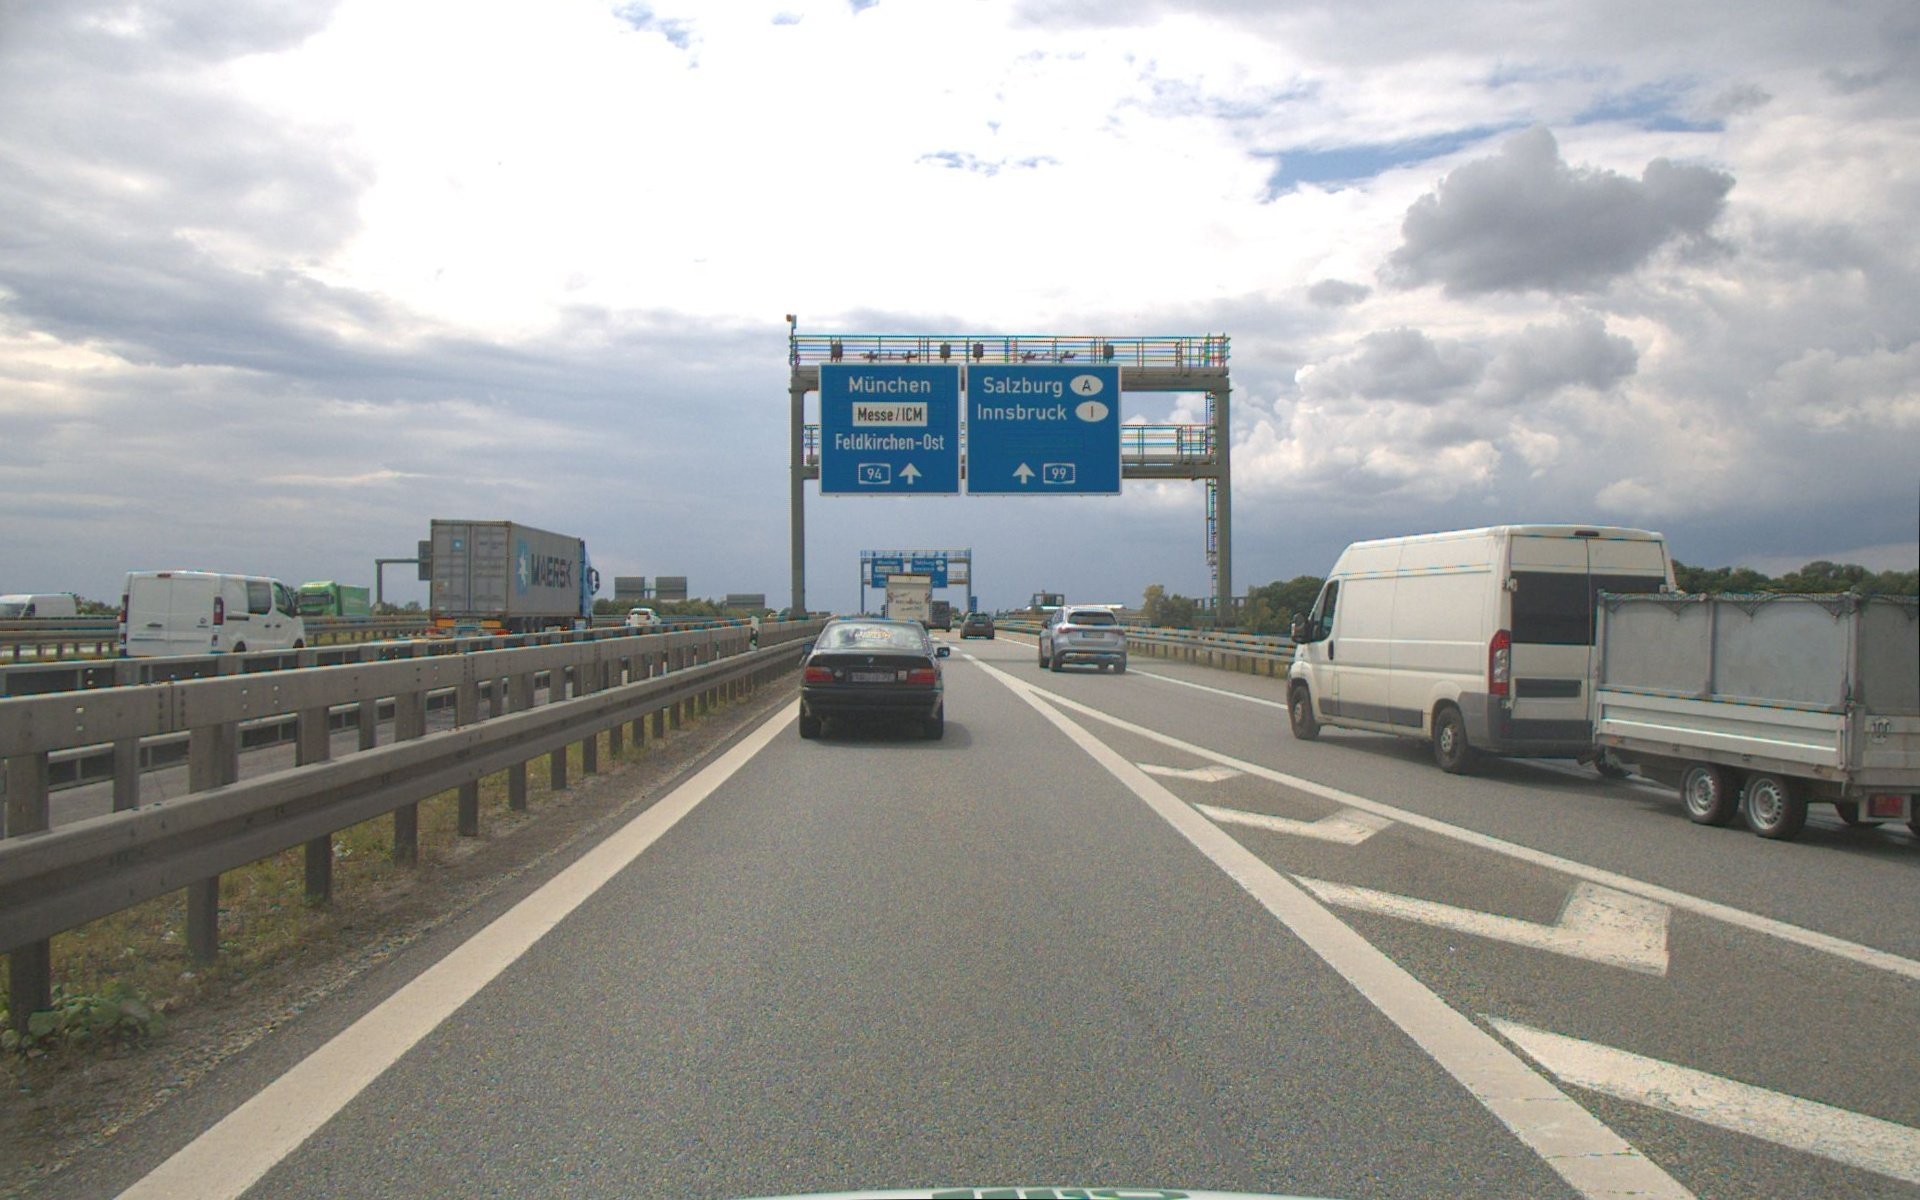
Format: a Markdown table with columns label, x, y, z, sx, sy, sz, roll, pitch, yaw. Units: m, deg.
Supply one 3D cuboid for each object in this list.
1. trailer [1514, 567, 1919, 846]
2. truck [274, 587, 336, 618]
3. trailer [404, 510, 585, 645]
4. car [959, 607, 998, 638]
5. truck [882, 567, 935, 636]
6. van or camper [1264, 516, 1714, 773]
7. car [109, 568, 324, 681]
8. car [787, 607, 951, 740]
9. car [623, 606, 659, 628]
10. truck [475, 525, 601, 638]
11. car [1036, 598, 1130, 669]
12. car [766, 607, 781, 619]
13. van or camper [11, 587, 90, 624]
| label | x | y | z | sx | sy | sz | roll | pitch | yaw |
| --- | --- | --- | --- | --- | --- | --- | --- | --- | --- |
| trailer | 6.624 | 0.742 | 13.515 | 1.958 | 1.874 | 4.494 | 2 | 0 | -12 |
| truck | -50.637 | 0.227 | 128.004 | 2.310 | 2.275 | 6.423 | 1 | 0 | -1 |
| trailer | -15.497 | -0.653 | 56.288 | 3.172 | 3.993 | 12.372 | 1 | 0 | -3 |
| car | 0.994 | 1.222 | 90.105 | 1.953 | 1.579 | 3.999 | 1 | 0 | -1 |
| truck | -2.433 | 0.059 | 79.218 | 2.355 | 3.144 | 6.368 | 1 | 0 | -1 |
| van or camper | 5.612 | 0.444 | 18.673 | 2.185 | 2.402 | 5.922 | 2 | 0 | -12 |
| car | -14.115 | 0.445 | 31.784 | 1.959 | 1.972 | 5.129 | 1 | 0 | -2 |
| car | -1.023 | 0.801 | 19.877 | 1.746 | 1.402 | 4.136 | 1 | 0 | -1 |
| car | -20.052 | 1.058 | 103.979 | 1.718 | 1.393 | 4.202 | 1 | 0 | -4 |
| truck | -15.793 | -0.647 | 62.416 | 3.181 | 3.980 | 6.607 | 1 | 0 | -2 |
| car | 3.084 | 0.813 | 42.355 | 1.897 | 1.714 | 4.207 | 0 | 0 | -3 |
| car | -27.145 | 1.900 | 240.626 | 1.855 | 1.625 | 4.413 | 2 | 0 | -4 |
| van or camper | -48.807 | 0.283 | 88.843 | 1.953 | 1.881 | 4.228 | 2 | 0 | -2 |
